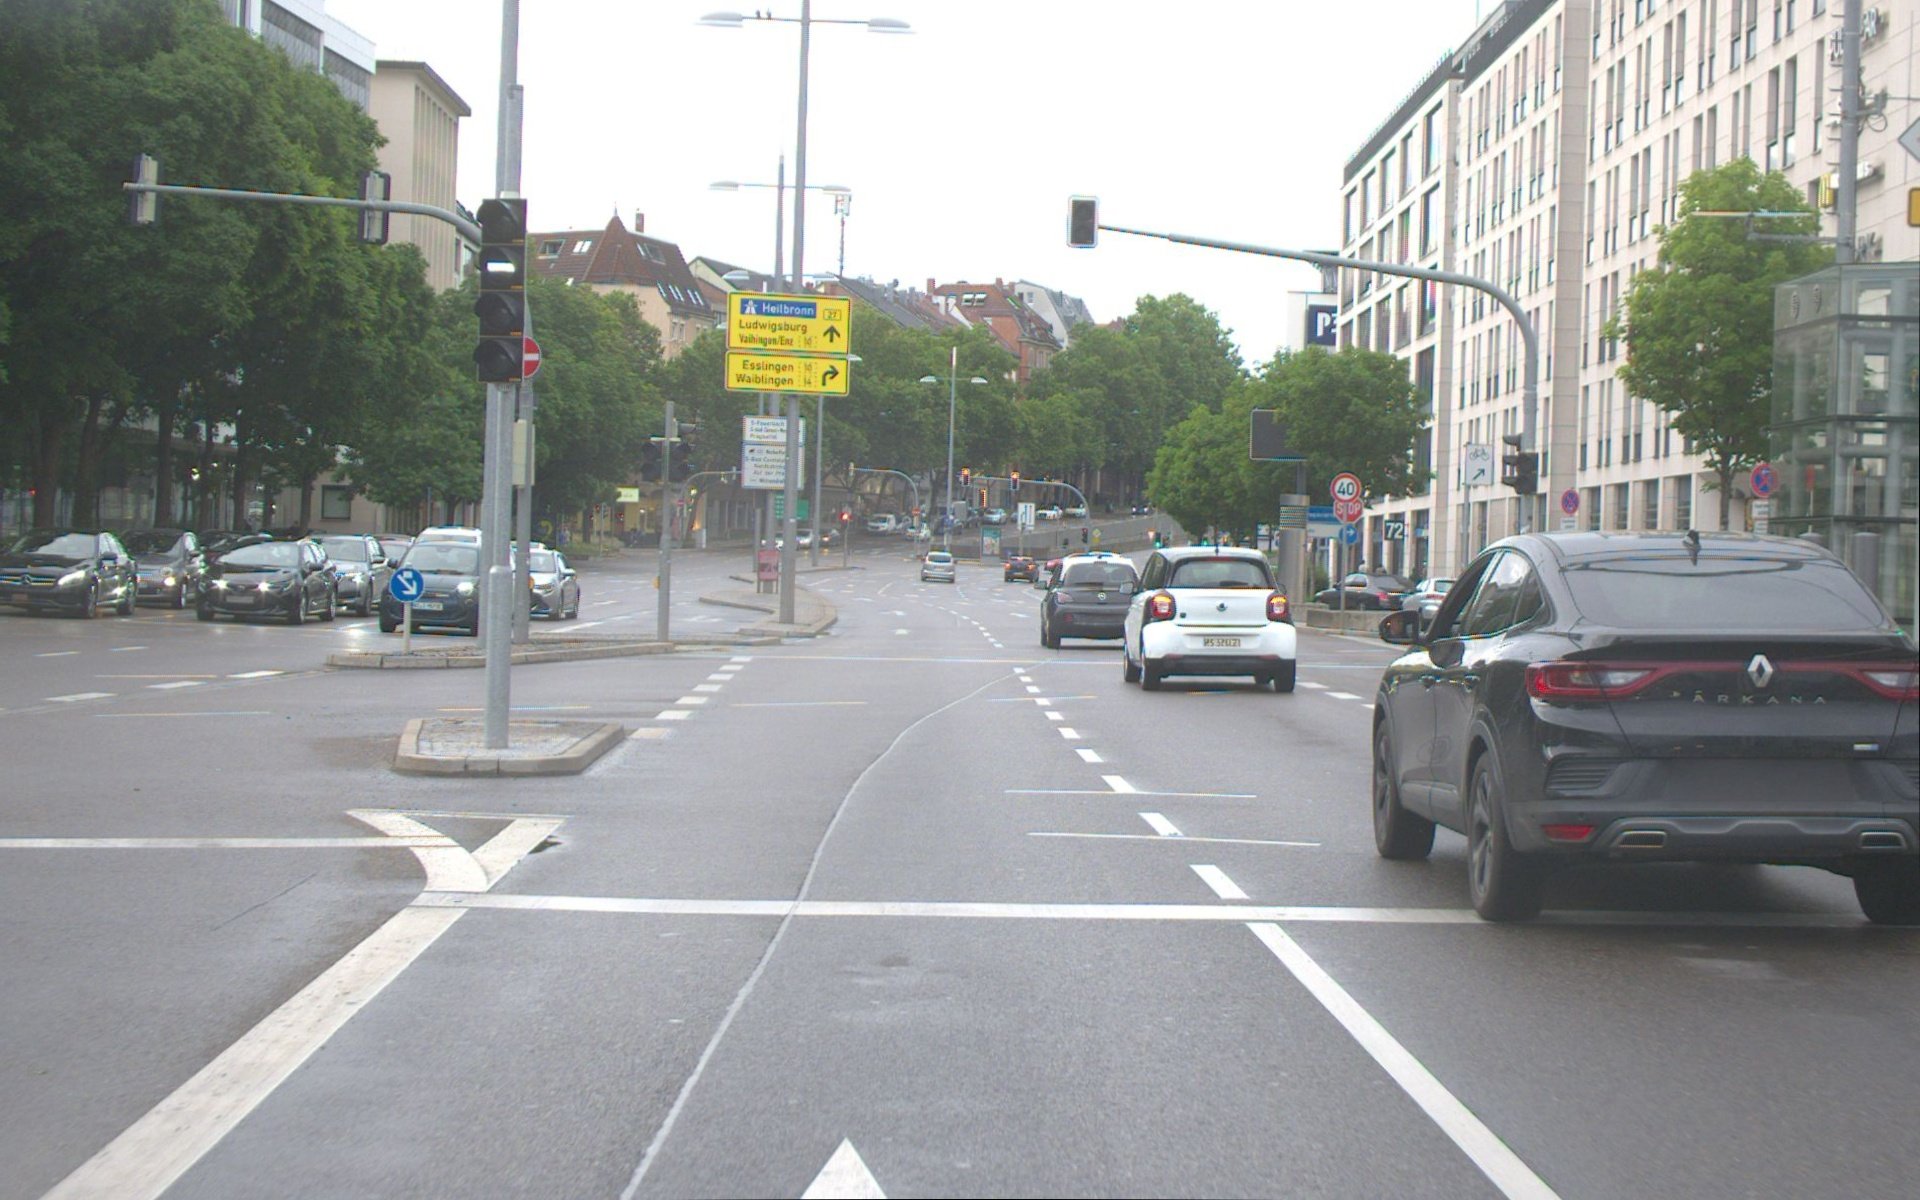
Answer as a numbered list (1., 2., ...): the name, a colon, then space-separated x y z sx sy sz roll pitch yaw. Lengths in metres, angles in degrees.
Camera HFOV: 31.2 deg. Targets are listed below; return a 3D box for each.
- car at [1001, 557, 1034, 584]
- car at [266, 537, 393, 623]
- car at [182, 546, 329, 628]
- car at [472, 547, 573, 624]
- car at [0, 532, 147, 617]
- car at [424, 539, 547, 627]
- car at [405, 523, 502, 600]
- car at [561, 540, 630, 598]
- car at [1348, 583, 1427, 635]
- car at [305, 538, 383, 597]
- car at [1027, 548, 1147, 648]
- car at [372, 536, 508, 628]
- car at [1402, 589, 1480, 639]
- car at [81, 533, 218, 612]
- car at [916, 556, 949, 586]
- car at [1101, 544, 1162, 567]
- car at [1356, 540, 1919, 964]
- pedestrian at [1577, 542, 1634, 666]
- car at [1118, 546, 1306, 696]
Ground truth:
1. car: 3.275 -1.682 195.842 1.740 1.526 3.814 1 0 0
2. car: -11.877 -0.380 64.941 1.743 1.553 3.540 1 0 0
3. car: -11.847 -0.237 58.025 1.743 1.253 3.540 2 1 0
4. car: -8.724 -0.291 68.737 1.538 1.472 3.696 1 0 0
5. car: -14.707 -0.416 56.407 1.743 1.324 4.226 1 0 0
6. car: -8.746 -0.316 63.658 1.702 1.553 4.245 1 0 0
7. car: -11.871 -0.890 80.749 1.743 1.742 3.540 1 0 0
8. car: -11.235 -0.953 106.098 1.743 1.742 3.540 1 0 0
9. car: 11.770 0.240 94.828 1.661 1.396 3.832 1 0 0
10. car: -18.665 -0.978 104.301 1.743 1.742 3.540 1 0 0
11. car: 2.004 -0.030 55.243 1.740 1.526 3.814 1 0 0
12. car: -8.565 -0.292 56.835 1.743 1.439 3.395 1 0 0
13. car: 12.476 0.357 89.345 1.506 1.261 3.502 1 0 0
14. car: -15.221 -0.501 64.690 1.743 1.419 3.540 1 0 0
15. car: -1.486 -1.572 183.853 1.740 1.526 3.814 1 1 -1
16. car: 11.527 -2.999 230.843 3.800 1.526 1.746 1 1 -7
17. car: 2.883 0.522 14.749 1.791 1.501 4.339 1 1 -1
18. pedestrian: 9.634 0.057 51.323 0.727 1.826 0.510 1 0 0
19. car: 2.694 0.212 37.537 1.724 1.526 3.814 1 0 0
